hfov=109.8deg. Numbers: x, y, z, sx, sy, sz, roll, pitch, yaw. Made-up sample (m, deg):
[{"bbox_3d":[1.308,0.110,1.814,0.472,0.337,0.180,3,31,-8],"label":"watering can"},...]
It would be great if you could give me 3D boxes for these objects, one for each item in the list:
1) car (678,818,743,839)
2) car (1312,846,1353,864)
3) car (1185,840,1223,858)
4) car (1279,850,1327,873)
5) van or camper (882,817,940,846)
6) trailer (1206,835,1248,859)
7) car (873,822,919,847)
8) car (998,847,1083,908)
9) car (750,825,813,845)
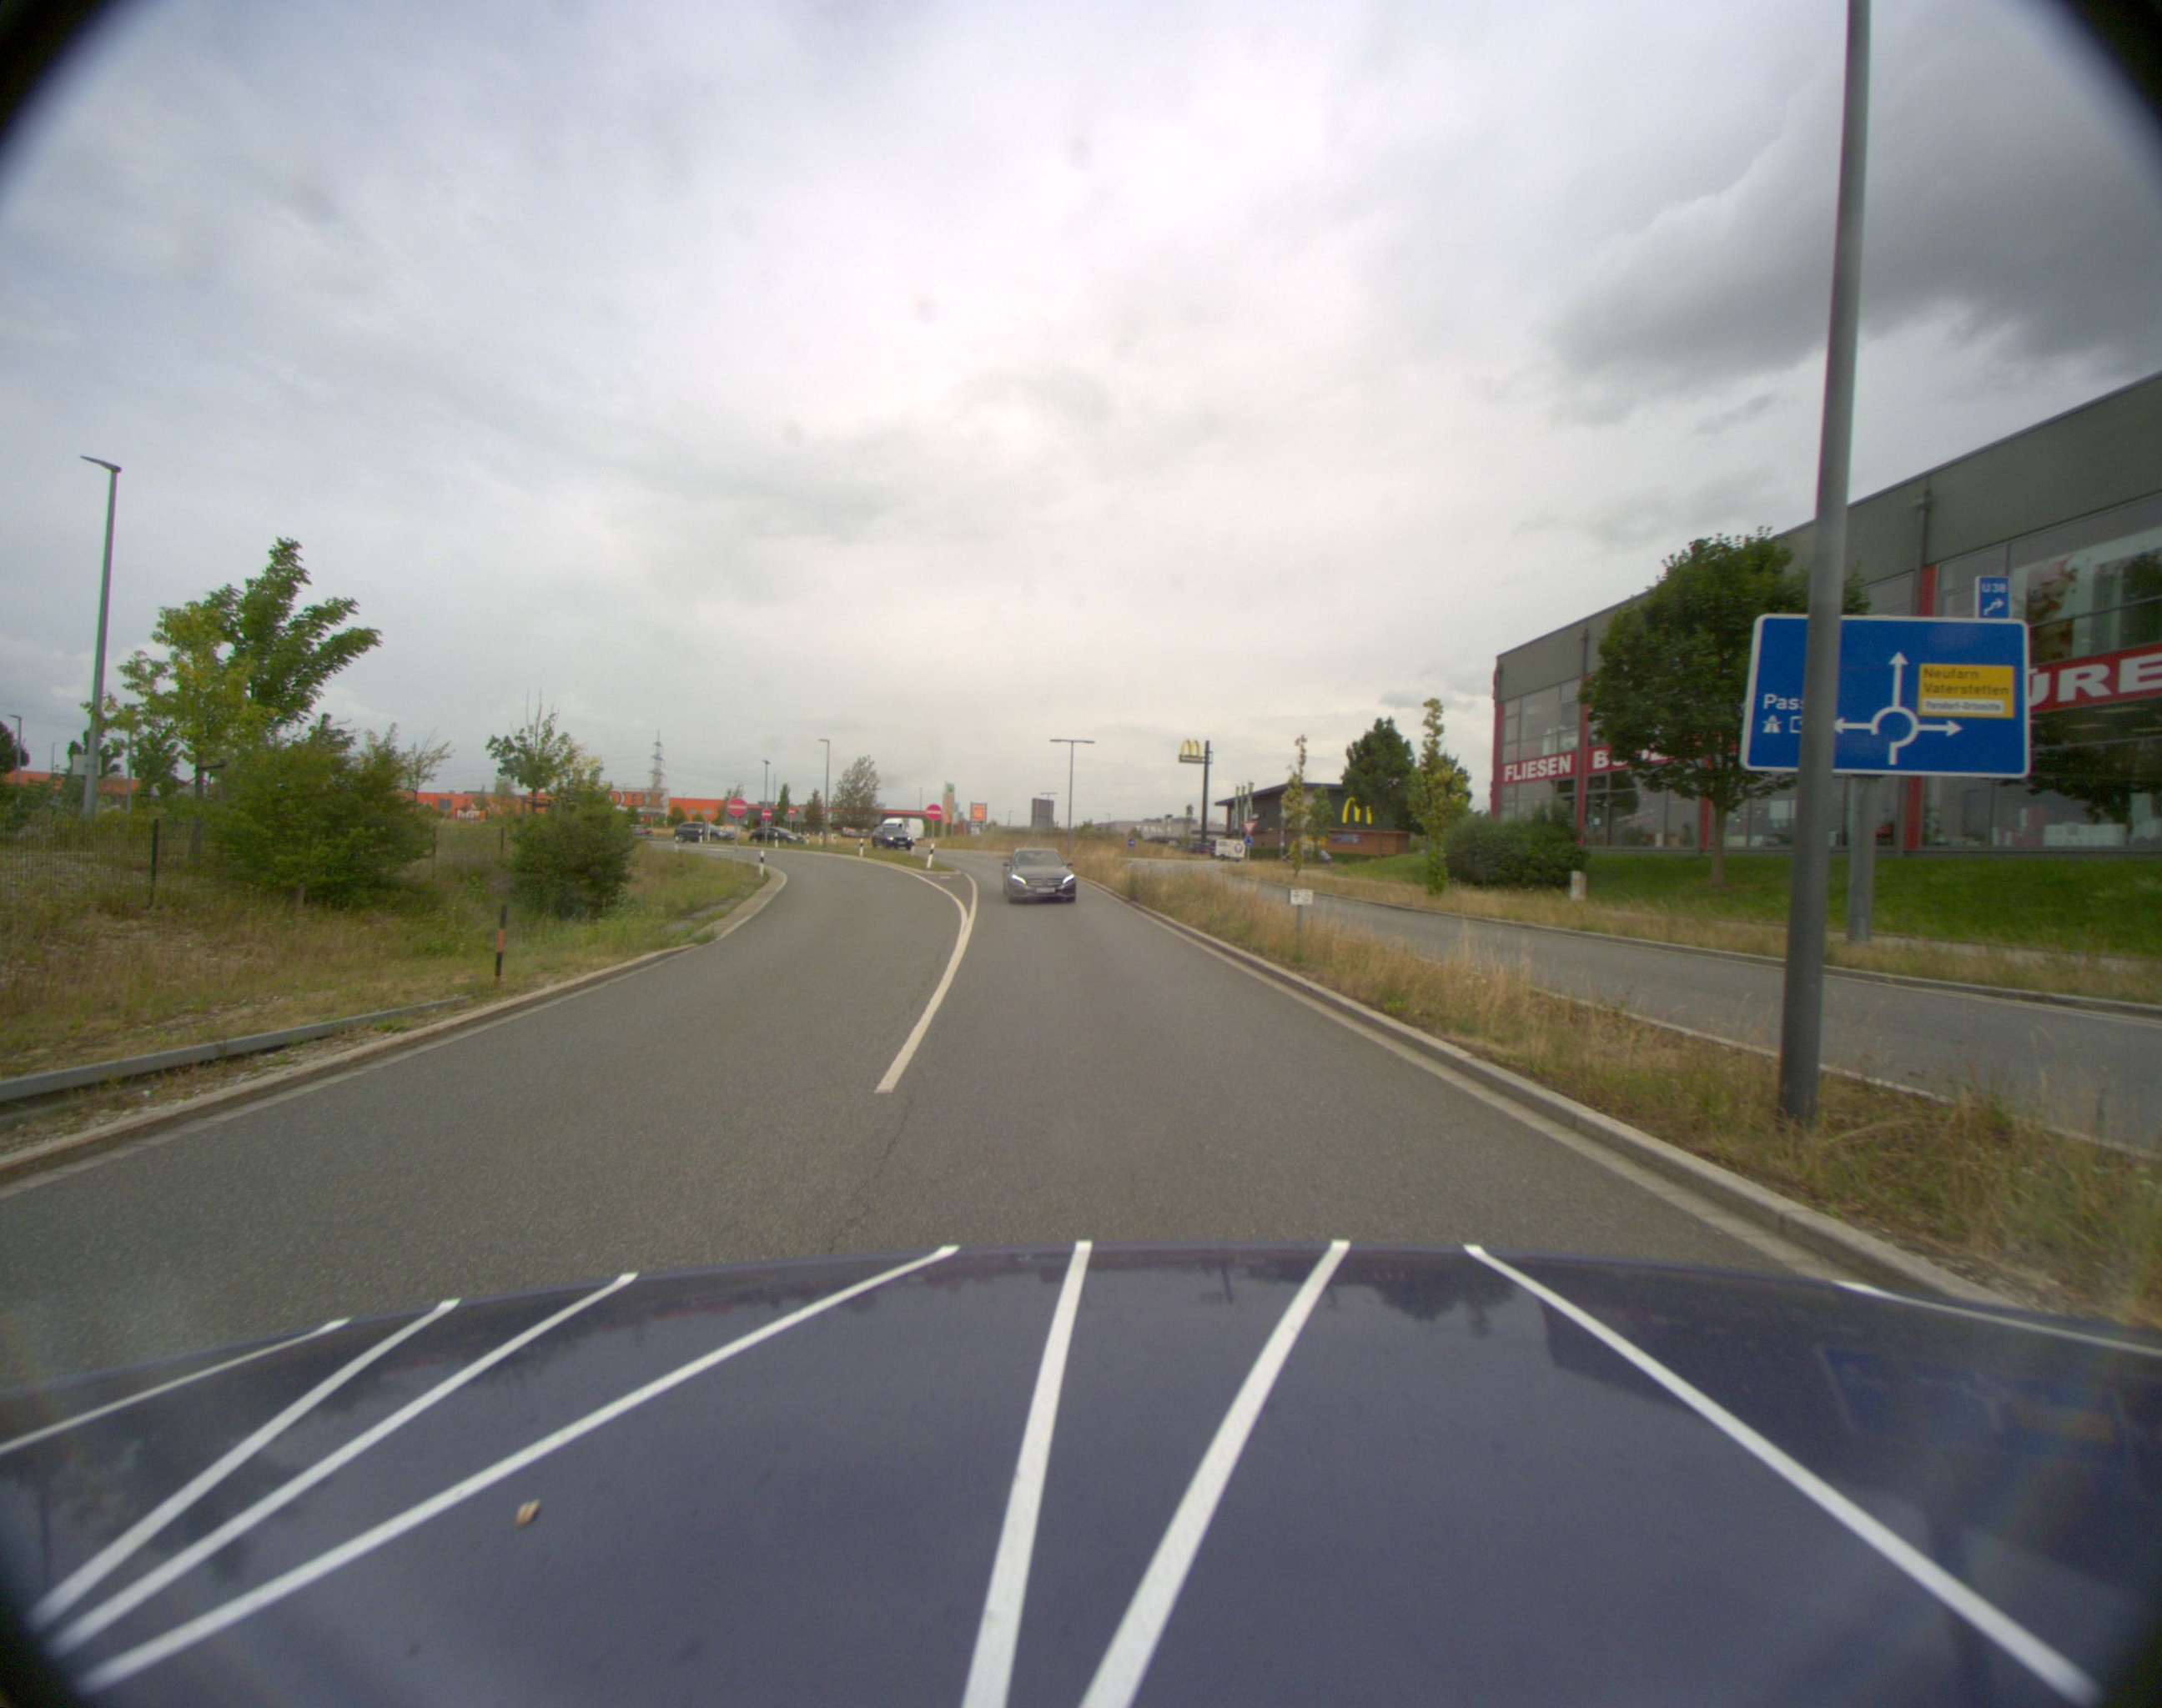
[{"bbox_3d":[-29.295,-2.018,60.150,4.271,1.574,1.884,2,2,4],"label":"car"},{"bbox_3d":[24.214,0.081,73.114,4.027,1.650,1.890,0,3,-40],"label":"car"},{"bbox_3d":[12.218,-0.496,75.632,1.818,1.660,4.608,2,1,-17],"label":"car"},{"bbox_3d":[17.903,0.598,61.275,3.777,1.451,1.639,4,6,-39],"label":"car"},{"bbox_3d":[-16.096,-2.097,72.292,2.328,2.635,6.054,1,1,23],"label":"van or camper"},{"bbox_3d":[13.742,-0.698,71.772,1.815,2.079,4.136,2,2,-23],"label":"trailer"},{"bbox_3d":[-13.224,-1.370,54.124,1.847,1.709,3.990,-2,1,-34],"label":"car"},{"bbox_3d":[-1.270,0.585,21.800,1.908,1.488,4.334,-2,1,-10],"label":"car"},{"bbox_3d":[-22.622,-1.437,57.384,4.136,1.362,1.846,2,2,16],"label":"car"}]
